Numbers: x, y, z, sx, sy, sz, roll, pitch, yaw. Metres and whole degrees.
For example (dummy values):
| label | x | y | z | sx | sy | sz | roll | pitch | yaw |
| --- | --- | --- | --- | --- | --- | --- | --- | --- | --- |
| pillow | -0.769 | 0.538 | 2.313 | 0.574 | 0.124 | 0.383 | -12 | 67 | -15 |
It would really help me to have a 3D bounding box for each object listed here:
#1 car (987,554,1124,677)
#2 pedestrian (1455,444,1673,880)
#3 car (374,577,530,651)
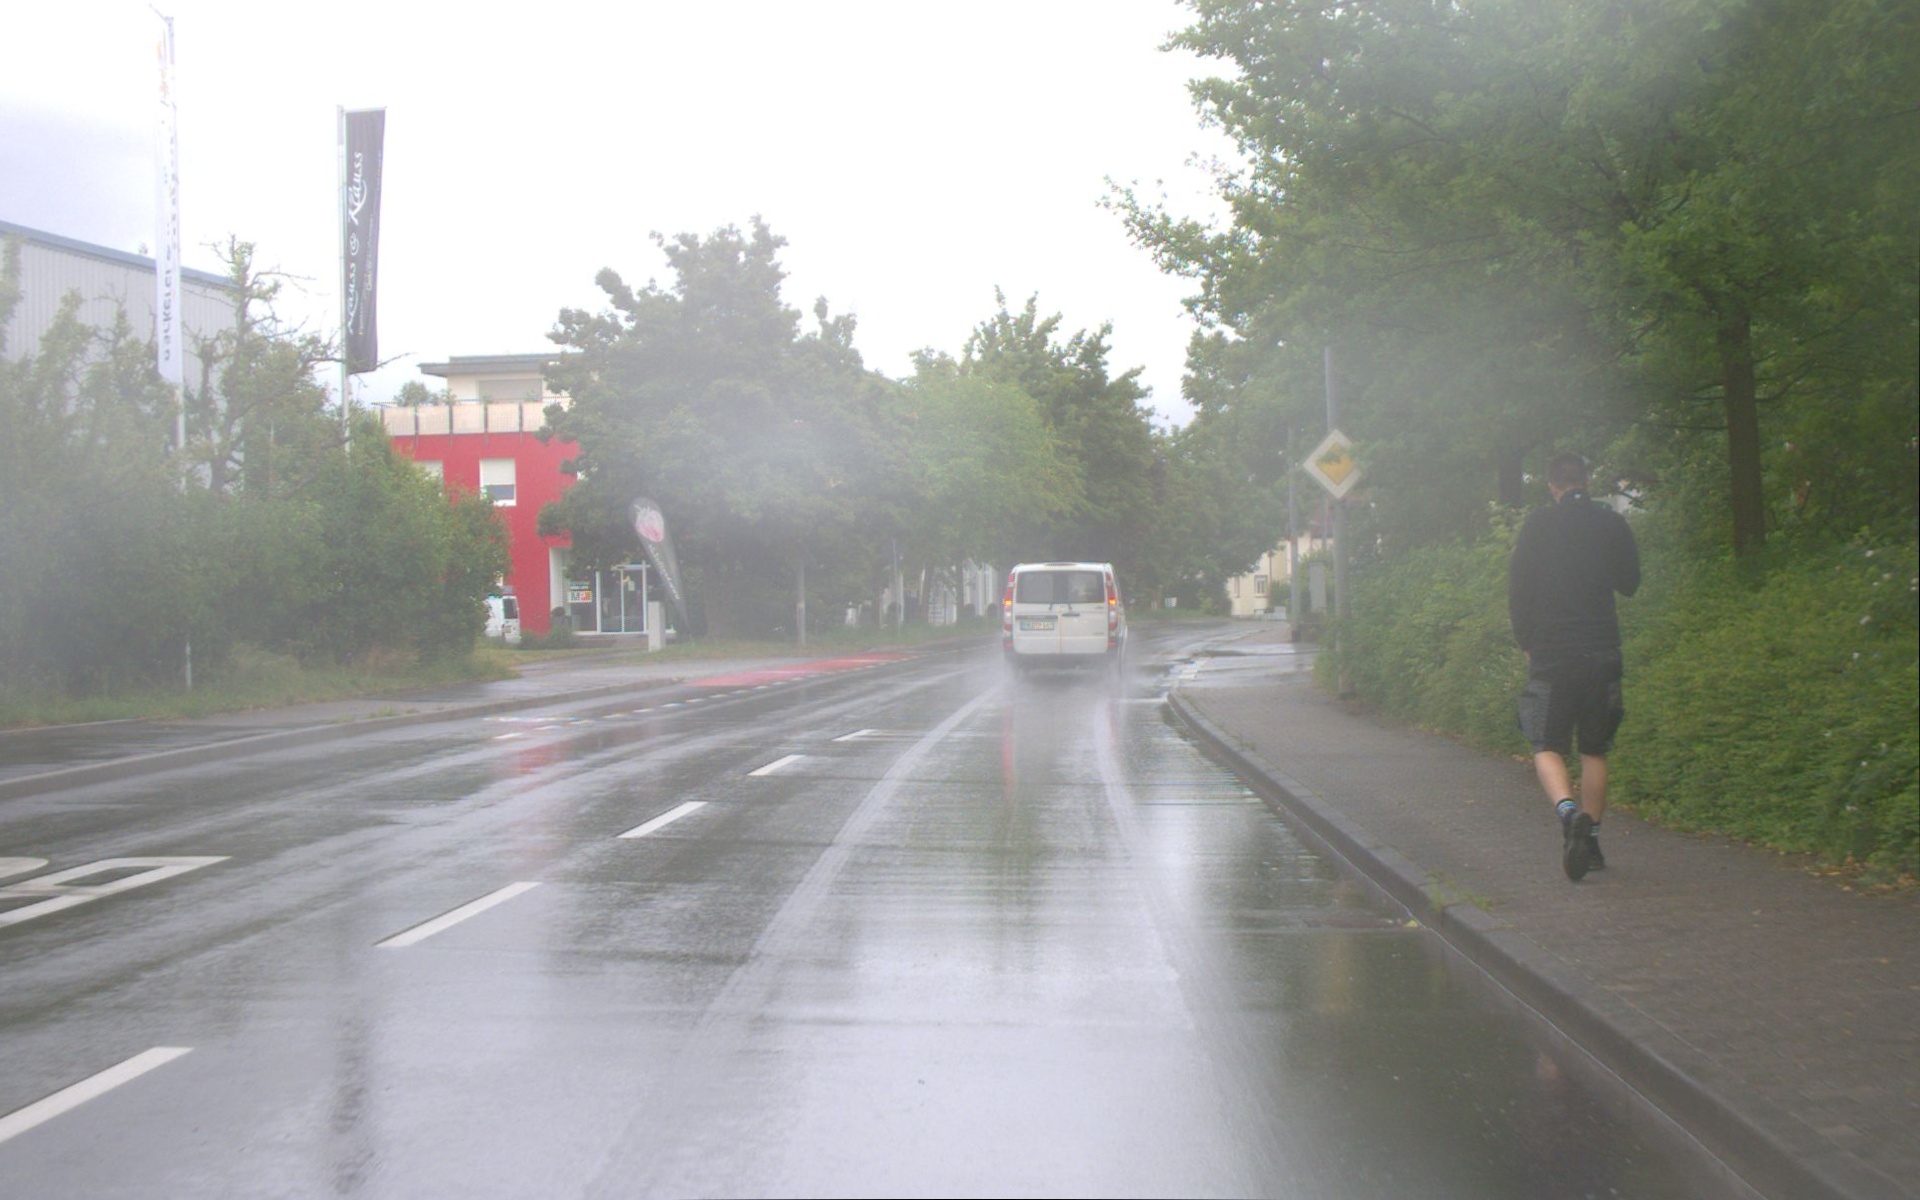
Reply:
| label | x | y | z | sx | sy | sz | roll | pitch | yaw |
| --- | --- | --- | --- | --- | --- | --- | --- | --- | --- |
| car | 1.568 | 0.204 | 55.340 | 2.117 | 1.881 | 4.502 | 0 | 1 | 2 |
| pedestrian | 2.634 | 0.259 | 15.077 | 0.745 | 1.831 | 0.890 | -2 | 1 | 0 |
| car | -16.271 | 0.419 | 110.258 | 4.479 | 2.302 | 2.184 | 0 | 1 | 11 |
